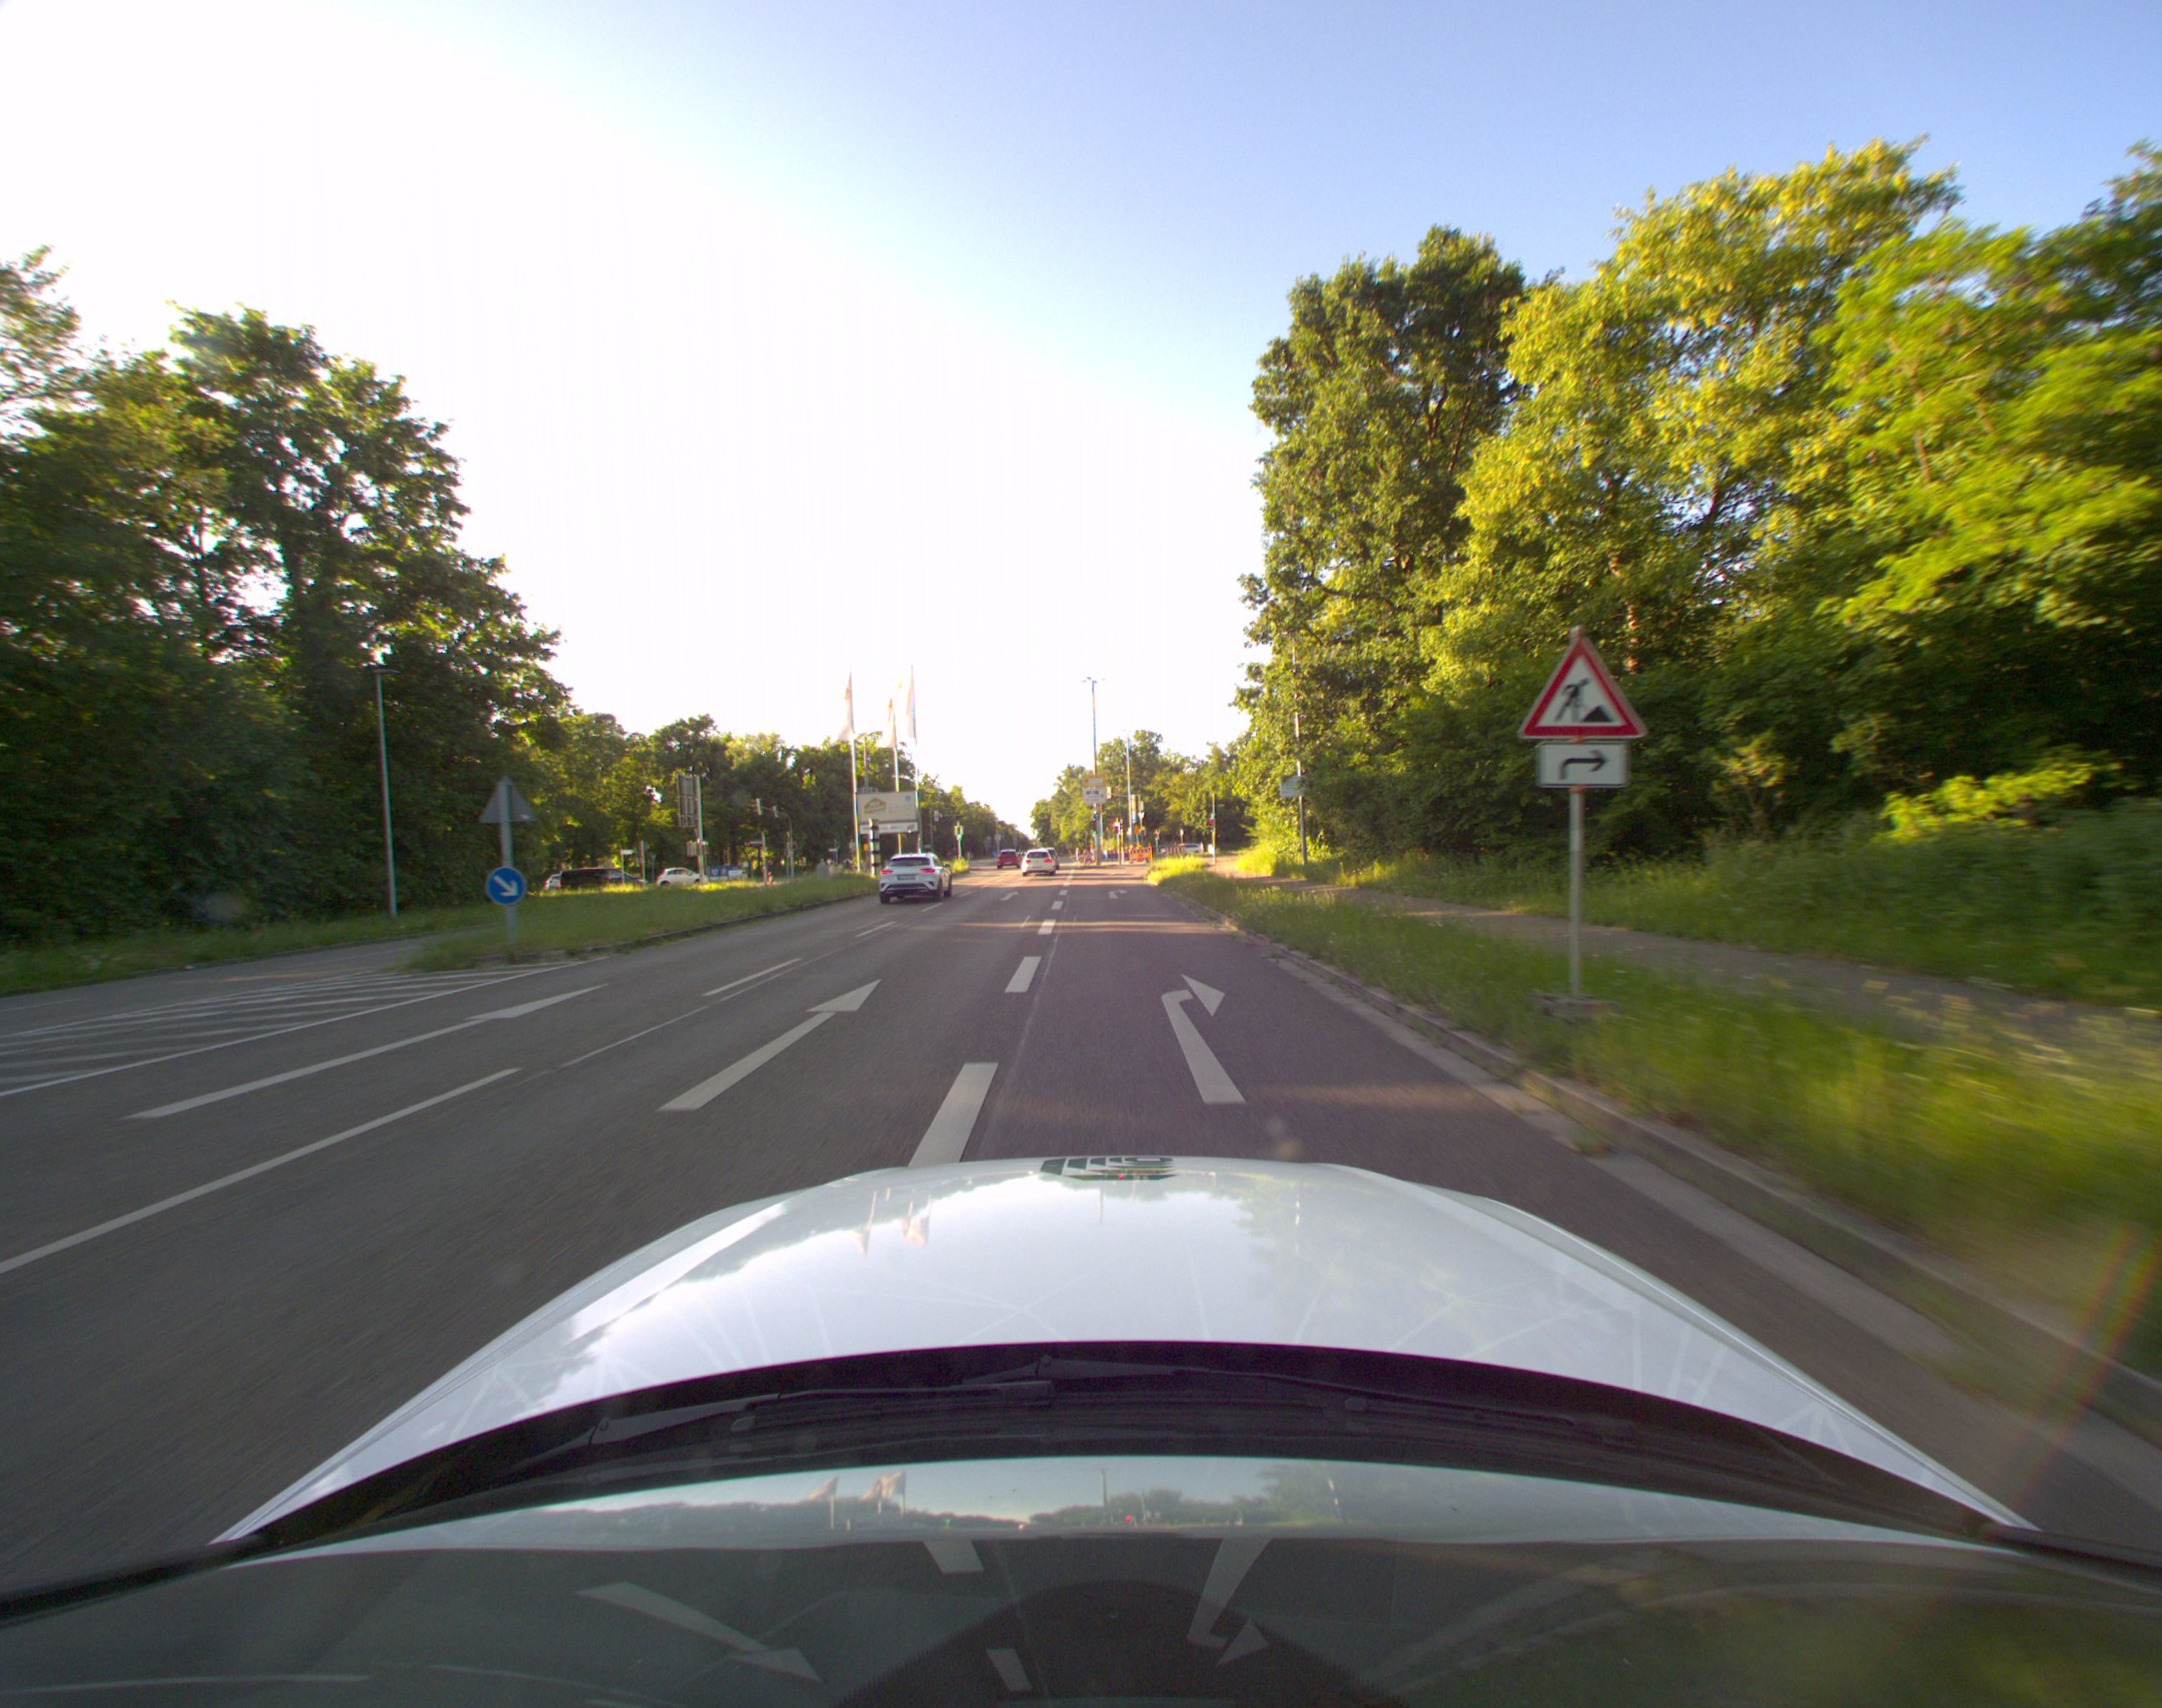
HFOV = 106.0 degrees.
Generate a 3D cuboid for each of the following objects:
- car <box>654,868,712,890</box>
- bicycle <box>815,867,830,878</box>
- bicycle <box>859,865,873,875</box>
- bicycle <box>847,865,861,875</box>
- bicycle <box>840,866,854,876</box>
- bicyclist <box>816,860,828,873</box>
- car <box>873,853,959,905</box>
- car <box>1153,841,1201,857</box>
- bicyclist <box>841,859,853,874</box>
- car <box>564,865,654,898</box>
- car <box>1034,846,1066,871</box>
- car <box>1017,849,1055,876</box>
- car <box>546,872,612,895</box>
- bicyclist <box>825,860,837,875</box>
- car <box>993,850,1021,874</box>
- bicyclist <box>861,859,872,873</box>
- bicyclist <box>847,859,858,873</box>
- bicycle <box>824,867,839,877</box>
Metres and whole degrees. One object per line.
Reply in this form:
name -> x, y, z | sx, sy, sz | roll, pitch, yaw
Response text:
car -> -30.118, 1.883, 61.670 | 3.807, 1.389, 1.912 | -3, 0, -26
bicycle -> -24.789, 1.773, 78.092 | 0.712, 0.914, 1.912 | -3, 1, 3
bicycle -> -20.764, 1.531, 78.832 | 0.712, 0.914, 1.912 | -3, 0, 3
bicycle -> -22.566, 1.606, 80.973 | 0.712, 0.914, 1.912 | -3, 0, 3
bicycle -> -22.636, 1.629, 78.881 | 0.712, 0.914, 1.912 | -3, 0, 3
bicyclist -> -24.820, 1.181, 78.091 | 0.712, 1.192, 0.991 | -3, 0, 3
car -> -5.108, 0.731, 25.764 | 1.857, 1.444, 3.999 | -2, 0, 0
car -> 10.566, -0.535, 89.248 | 4.837, 1.580, 1.985 | -3, 0, -22
bicyclist -> -22.656, 1.195, 78.876 | 0.712, 1.355, 0.991 | -3, 0, 3
car -> -31.097, 1.794, 53.804 | 4.944, 1.829, 1.912 | -3, 0, -26
car -> -2.150, 0.294, 56.202 | 1.990, 1.536, 3.994 | -3, 0, -4
car -> -2.522, 0.451, 46.719 | 1.934, 1.414, 3.998 | -3, 0, -1
car -> -36.180, 2.101, 58.804 | 3.807, 1.389, 1.838 | -3, 0, -26
bicyclist -> -23.913, 1.255, 77.991 | 0.707, 1.389, 0.991 | -3, 0, 3
car -> -5.762, 0.614, 63.884 | 1.990, 1.684, 3.994 | -3, 0, -4
bicyclist -> -20.777, 1.137, 78.890 | 0.712, 1.339, 0.991 | -3, 0, 3
bicyclist -> -22.613, 1.171, 80.514 | 0.712, 1.342, 0.991 | -3, 0, 3
bicycle -> -23.884, 1.736, 78.027 | 0.712, 0.914, 1.912 | -3, 0, 3
